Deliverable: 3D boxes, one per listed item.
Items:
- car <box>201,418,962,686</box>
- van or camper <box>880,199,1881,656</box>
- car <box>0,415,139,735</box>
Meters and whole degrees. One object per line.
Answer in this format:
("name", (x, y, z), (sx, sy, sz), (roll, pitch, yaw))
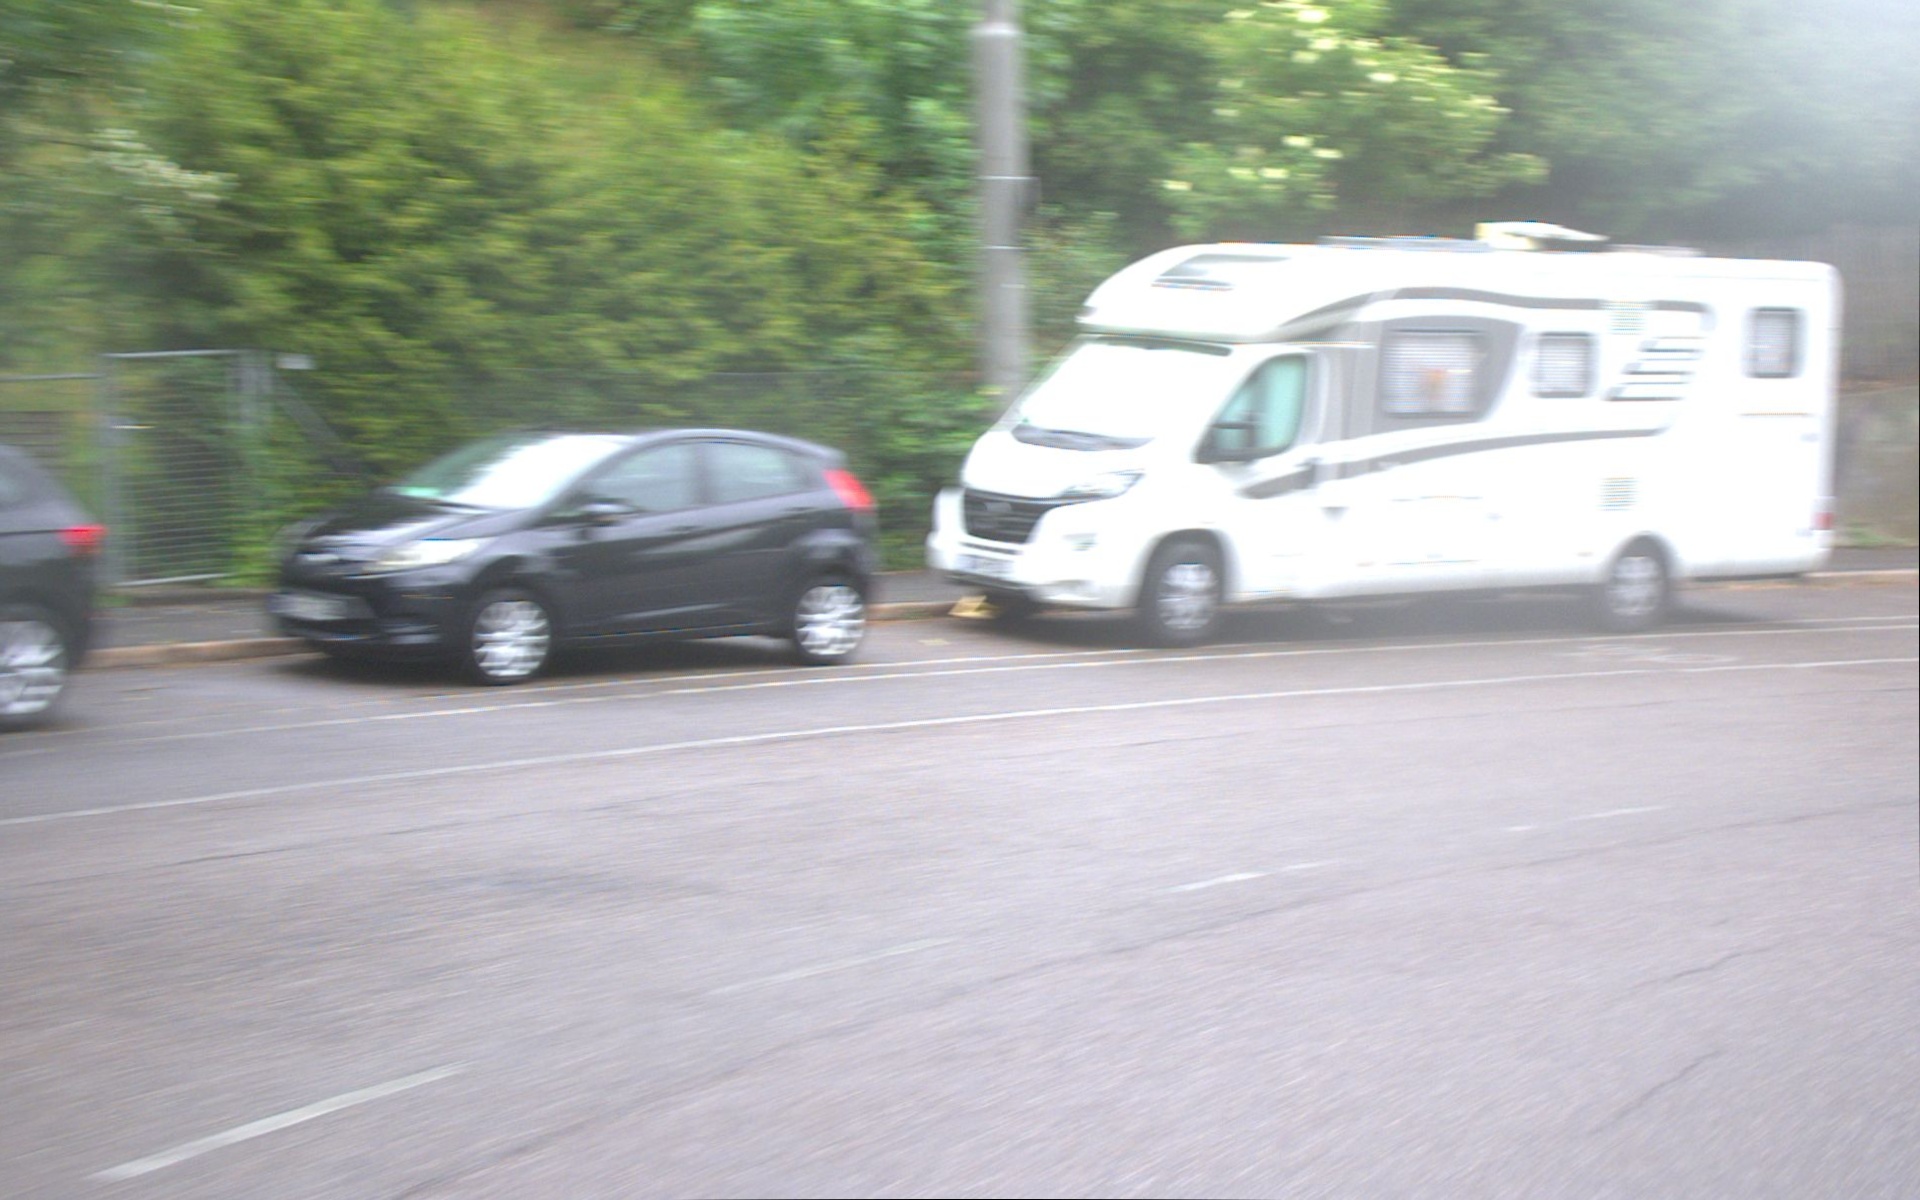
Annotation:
("car", (-2.159, -0.326, 20.478), (4.302, 1.351, 1.758), (-1, 6, -45))
("van or camper", (3.239, -1.305, 25.086), (7.638, 2.922, 2.202), (-2, 6, -35))
("car", (-5.870, -0.112, 15.339), (1.781, 1.460, 4.306), (4, 4, 30))
